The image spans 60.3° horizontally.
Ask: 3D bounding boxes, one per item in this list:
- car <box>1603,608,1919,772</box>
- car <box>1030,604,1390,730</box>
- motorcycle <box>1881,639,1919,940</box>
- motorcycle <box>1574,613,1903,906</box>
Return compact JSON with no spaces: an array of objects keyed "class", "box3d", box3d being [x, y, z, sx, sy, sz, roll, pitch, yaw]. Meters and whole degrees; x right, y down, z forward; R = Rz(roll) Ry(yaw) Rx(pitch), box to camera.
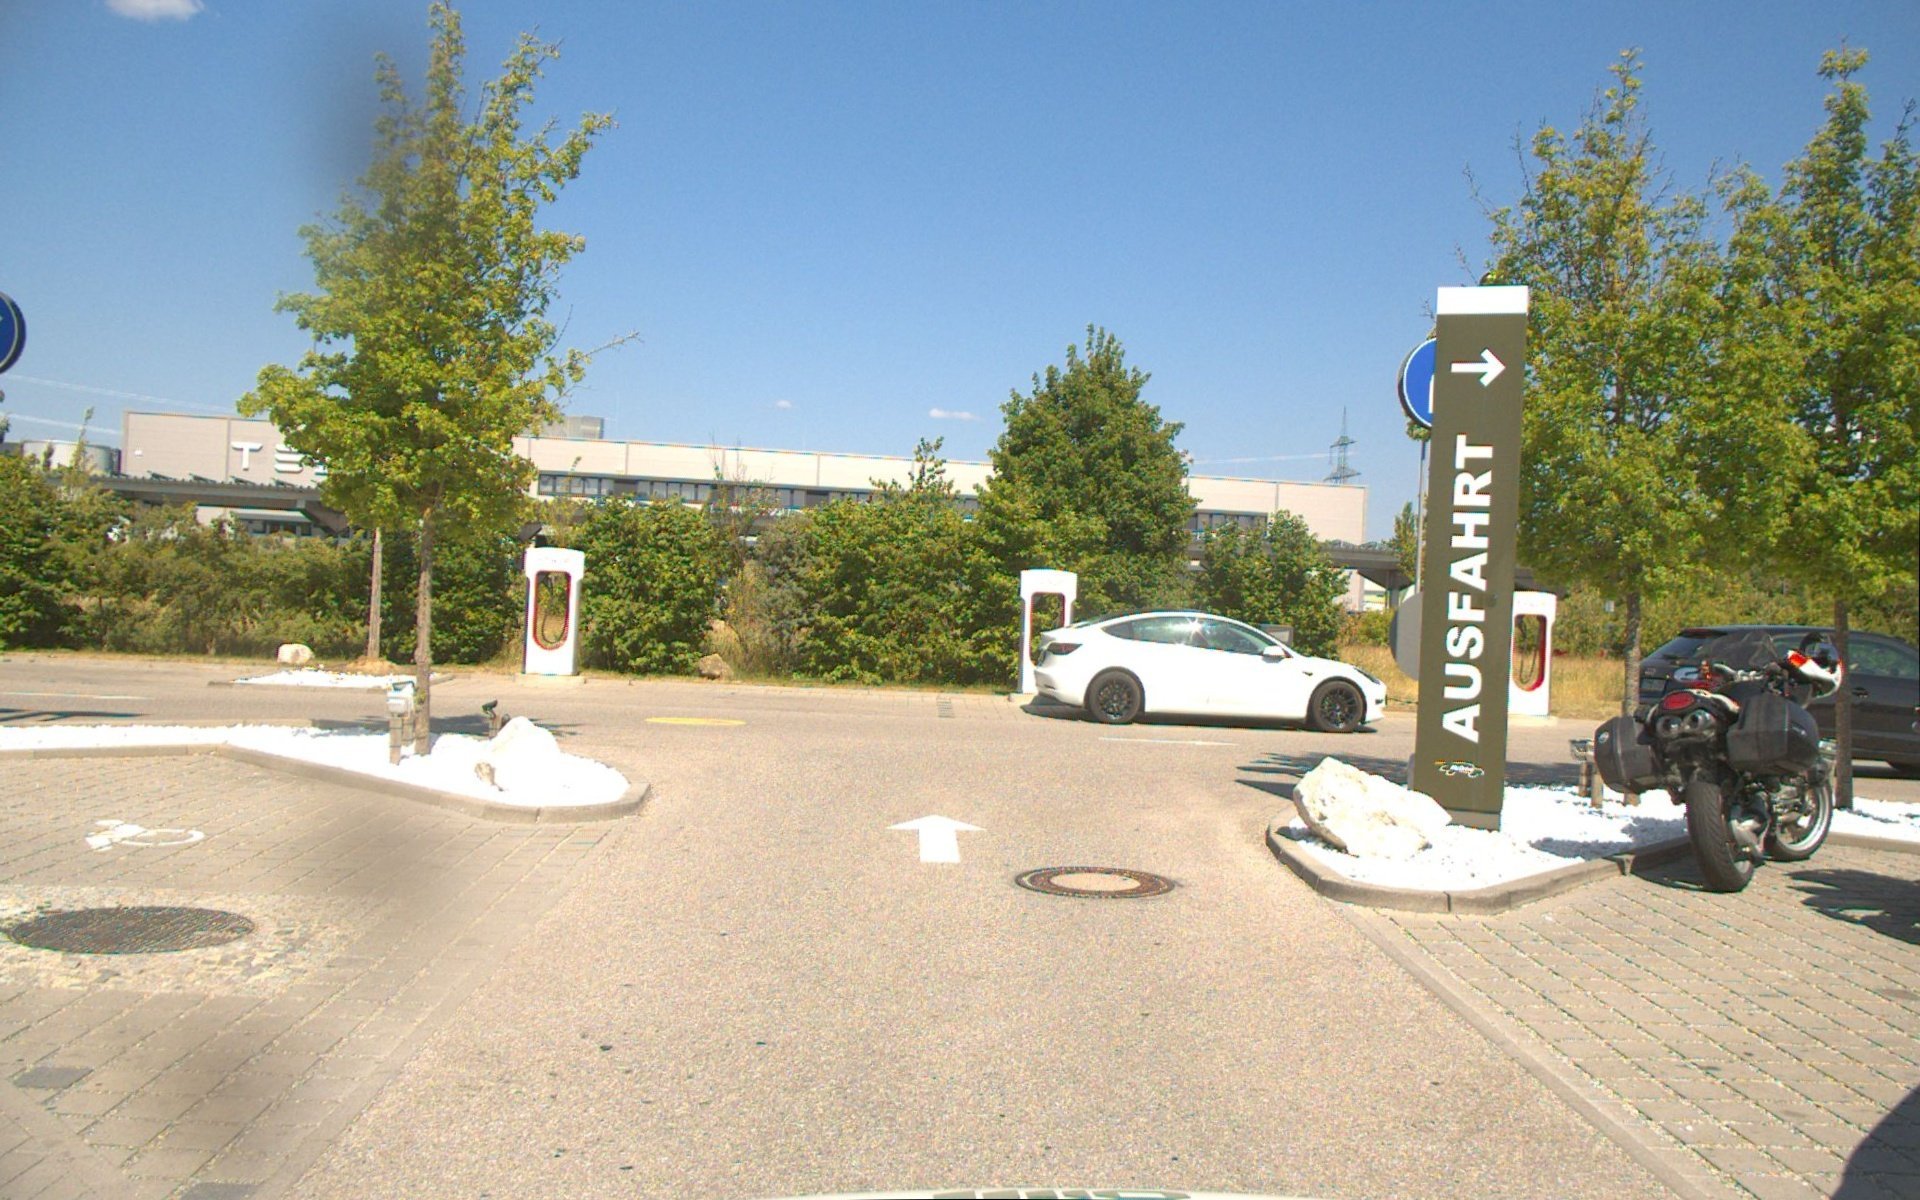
[{"class":"car","box3d":[8.781,0.900,16.437,4.116,1.466,1.697,2,-2,-3]},{"class":"car","box3d":[3.139,0.836,21.428,4.344,1.401,1.822,2,0,-1]},{"class":"motorcycle","box3d":[4.917,0.832,7.741,0.804,1.252,2.133,3,1,35]},{"class":"motorcycle","box3d":[4.213,0.746,8.840,1.051,1.272,2.241,4,2,39]}]
